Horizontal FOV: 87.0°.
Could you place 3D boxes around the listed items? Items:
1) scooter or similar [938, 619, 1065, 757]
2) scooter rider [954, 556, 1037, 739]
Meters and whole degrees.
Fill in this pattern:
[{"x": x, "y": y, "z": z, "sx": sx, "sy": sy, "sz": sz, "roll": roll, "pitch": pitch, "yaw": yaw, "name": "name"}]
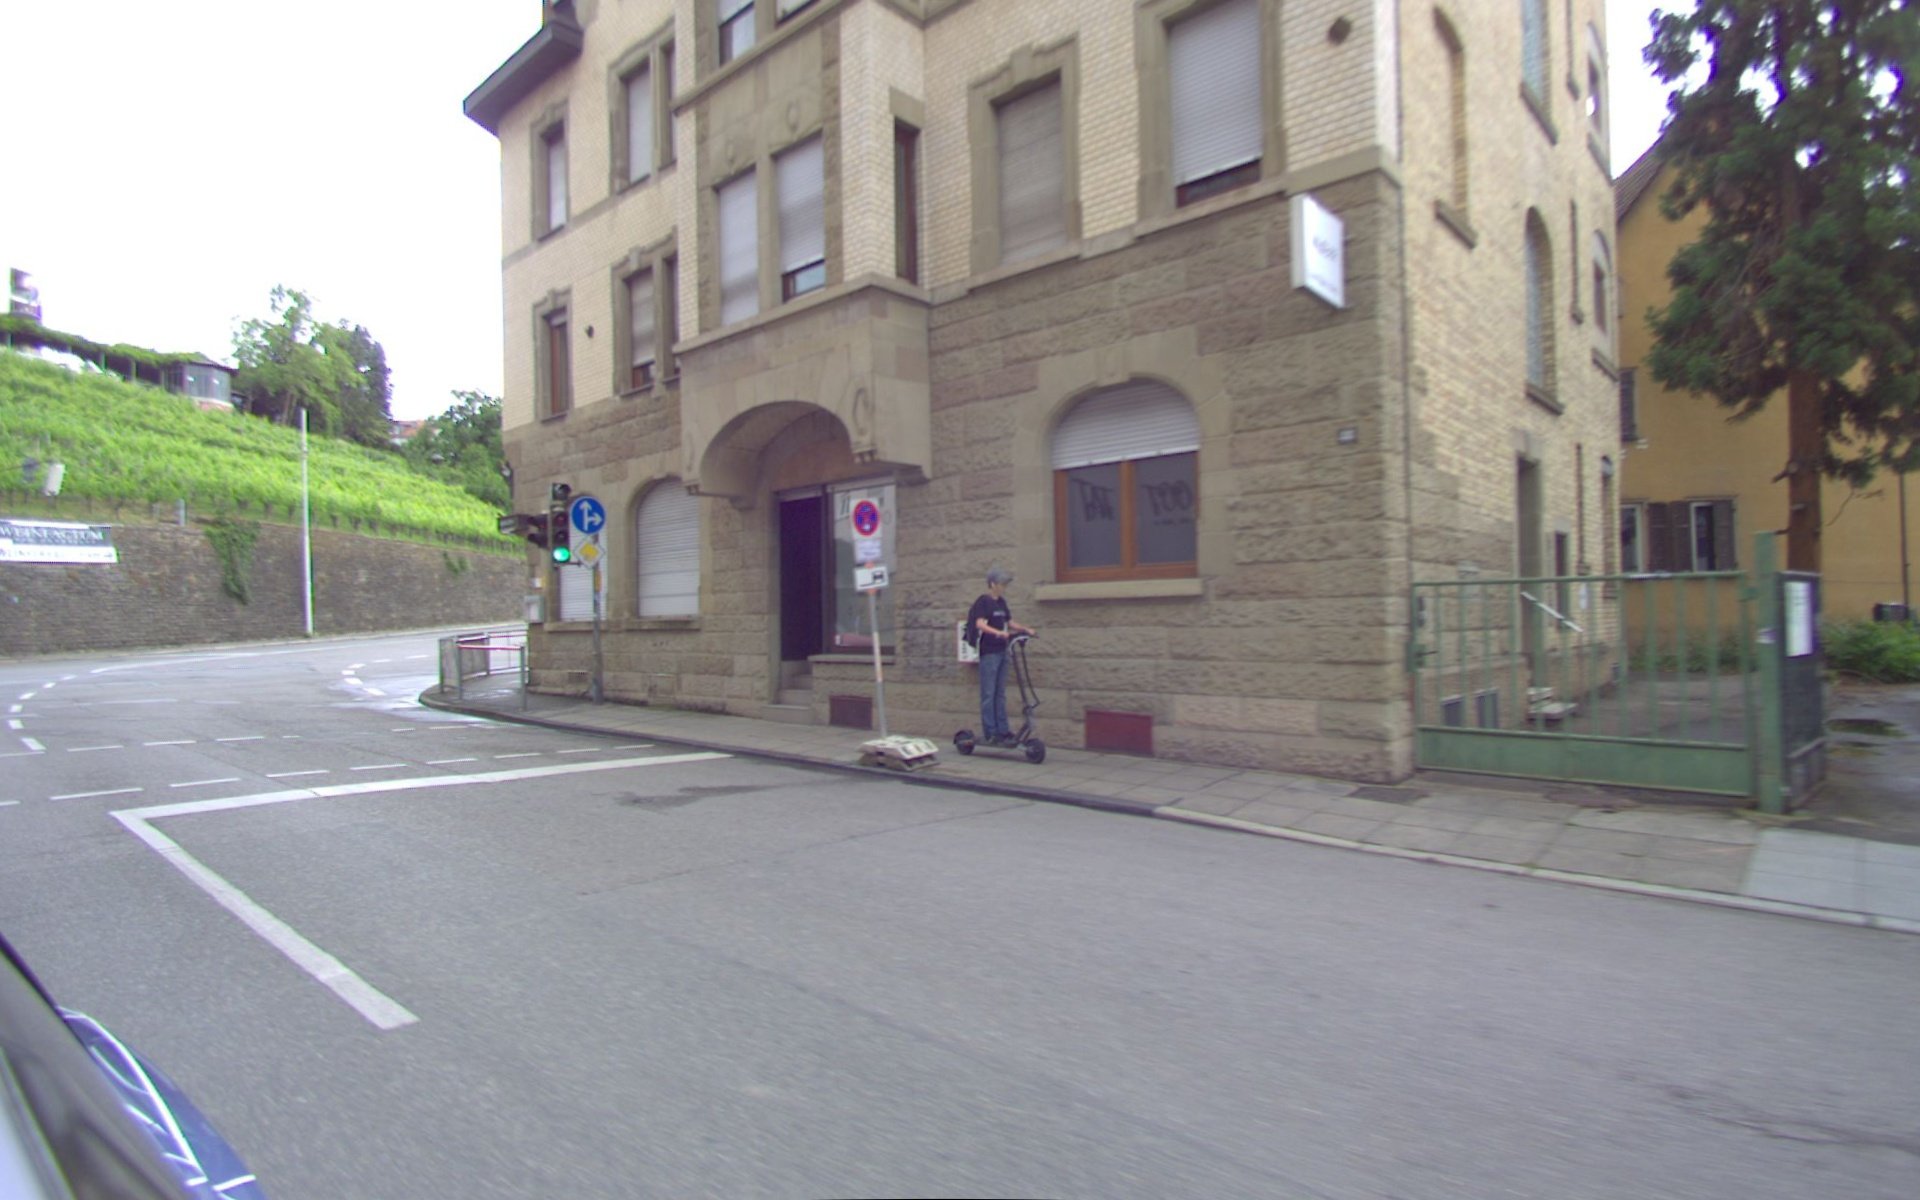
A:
[{"x": 0.389, "y": 0.821, "z": 9.847, "sx": 1.226, "sy": 1.251, "sz": 0.374, "roll": -2, "pitch": 1, "yaw": 41, "name": "scooter or similar"}, {"x": 0.346, "y": 0.441, "z": 9.869, "sx": 0.577, "sy": 1.718, "sz": 0.482, "roll": -1, "pitch": 1, "yaw": 41, "name": "scooter rider"}]
